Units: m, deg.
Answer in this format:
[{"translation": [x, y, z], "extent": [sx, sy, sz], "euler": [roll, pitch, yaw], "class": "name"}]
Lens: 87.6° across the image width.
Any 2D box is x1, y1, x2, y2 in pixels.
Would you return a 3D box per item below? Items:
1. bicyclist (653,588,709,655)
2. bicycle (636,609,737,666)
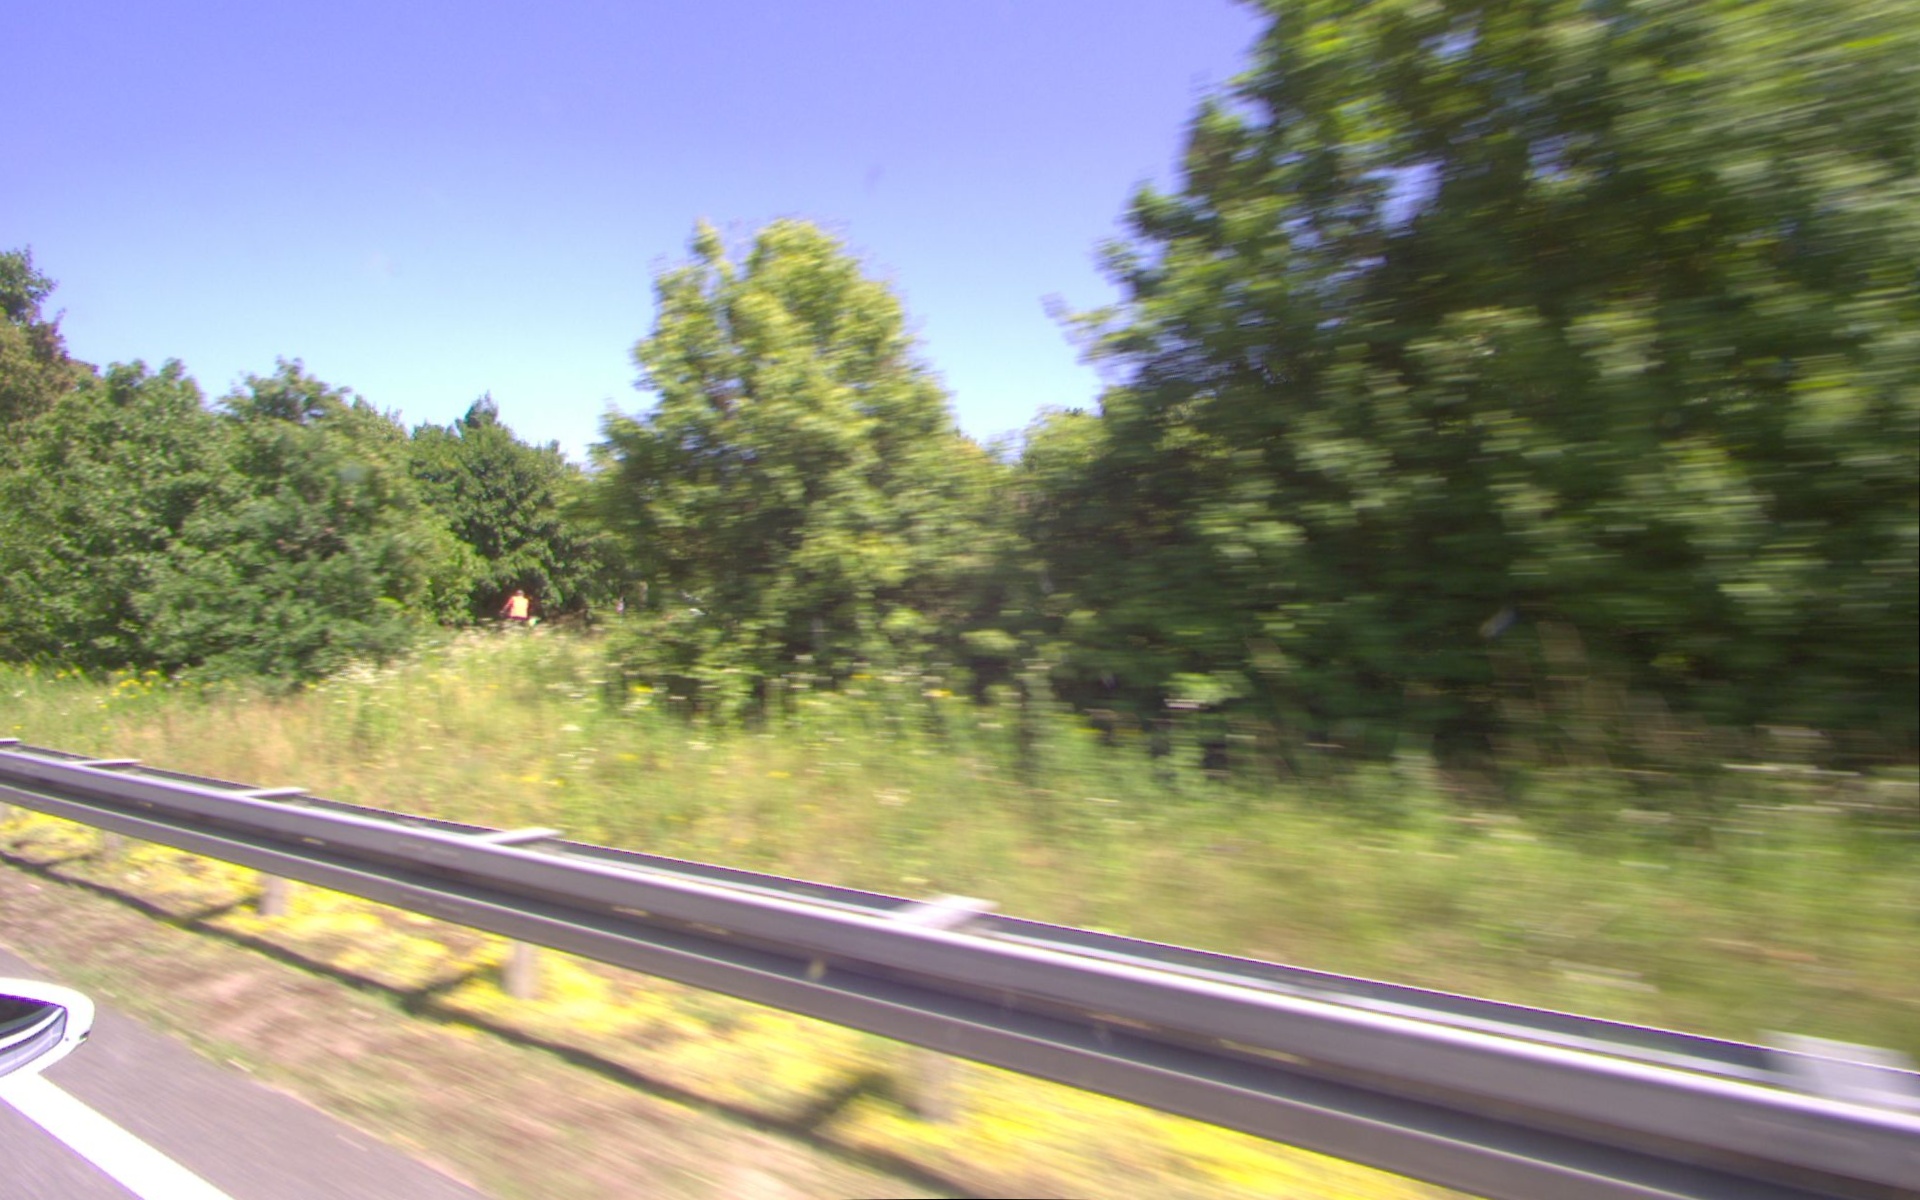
[{"translation": [-7.018, 0.536, 25.217], "extent": [1.091, 1.651, 0.829], "euler": [1, 0, 11], "class": "bicyclist"}, {"translation": [-6.880, 0.930, 25.217], "extent": [2.323, 1.358, 0.835], "euler": [1, 0, 13], "class": "bicycle"}]
